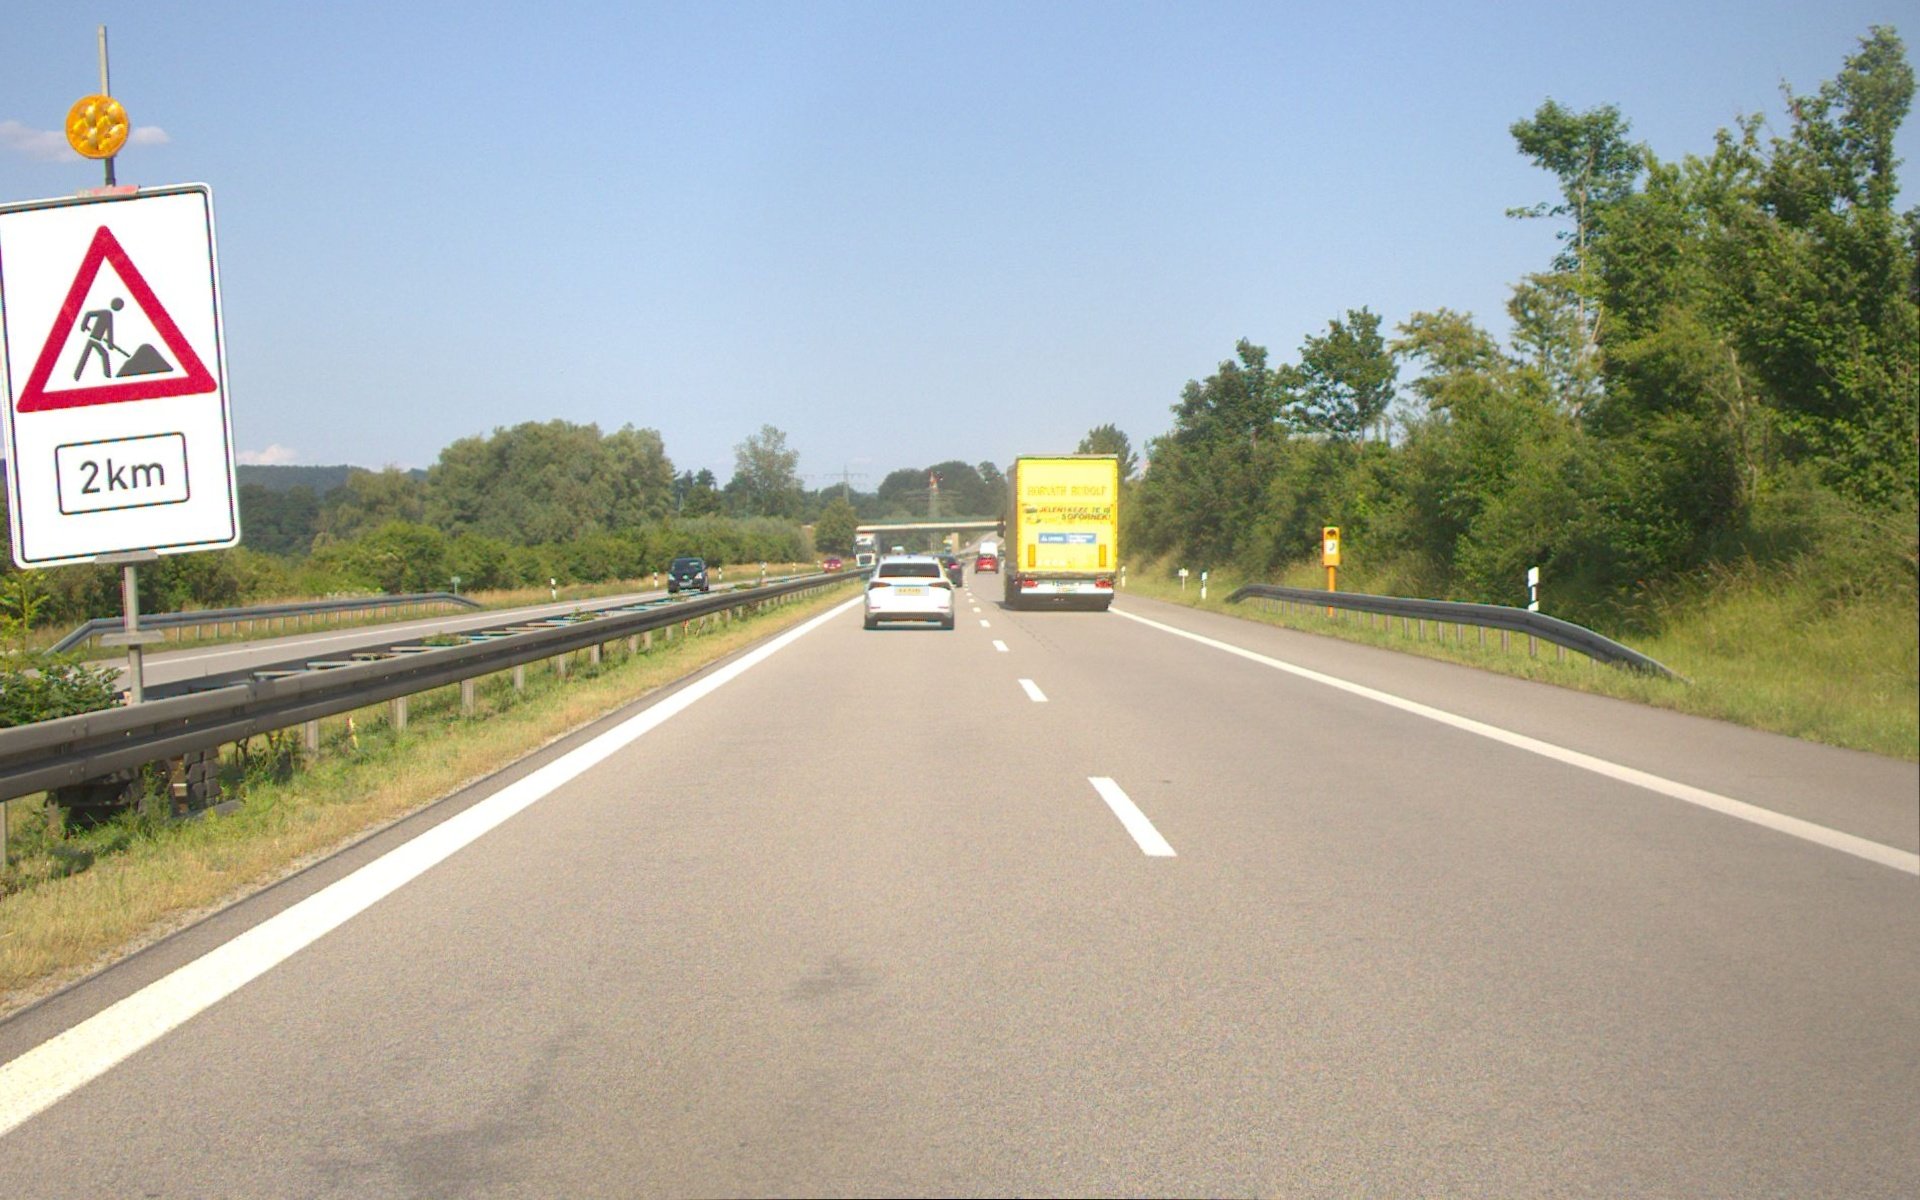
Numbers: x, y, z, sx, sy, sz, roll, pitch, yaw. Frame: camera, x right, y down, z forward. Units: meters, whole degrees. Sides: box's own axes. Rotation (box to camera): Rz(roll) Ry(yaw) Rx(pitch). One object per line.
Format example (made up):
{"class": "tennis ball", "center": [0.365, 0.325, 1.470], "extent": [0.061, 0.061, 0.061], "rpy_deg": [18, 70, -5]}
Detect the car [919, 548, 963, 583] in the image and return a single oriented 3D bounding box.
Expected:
{"class": "car", "center": [-0.822, -1.531, 153.206], "extent": [1.843, 1.515, 4.000], "rpy_deg": [1, 1, 1]}

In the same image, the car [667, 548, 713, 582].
{"class": "car", "center": [-12.965, -1.696, 165.585], "extent": [1.830, 1.566, 4.656], "rpy_deg": [-2, 1, 0]}

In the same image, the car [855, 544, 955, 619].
{"class": "car", "center": [-1.058, -0.379, 68.298], "extent": [1.843, 1.411, 4.000], "rpy_deg": [1, 1, 1]}

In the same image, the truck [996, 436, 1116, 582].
{"class": "truck", "center": [2.742, -2.607, 100.548], "extent": [3.168, 4.100, 6.389], "rpy_deg": [1, 1, -1]}

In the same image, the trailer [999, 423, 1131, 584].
{"class": "trailer", "center": [2.746, -2.538, 94.267], "extent": [3.184, 4.045, 13.187], "rpy_deg": [1, 1, 0]}

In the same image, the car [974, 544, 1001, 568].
{"class": "car", "center": [2.054, -3.315, 258.157], "extent": [1.902, 1.677, 4.731], "rpy_deg": [2, 1, 0]}
